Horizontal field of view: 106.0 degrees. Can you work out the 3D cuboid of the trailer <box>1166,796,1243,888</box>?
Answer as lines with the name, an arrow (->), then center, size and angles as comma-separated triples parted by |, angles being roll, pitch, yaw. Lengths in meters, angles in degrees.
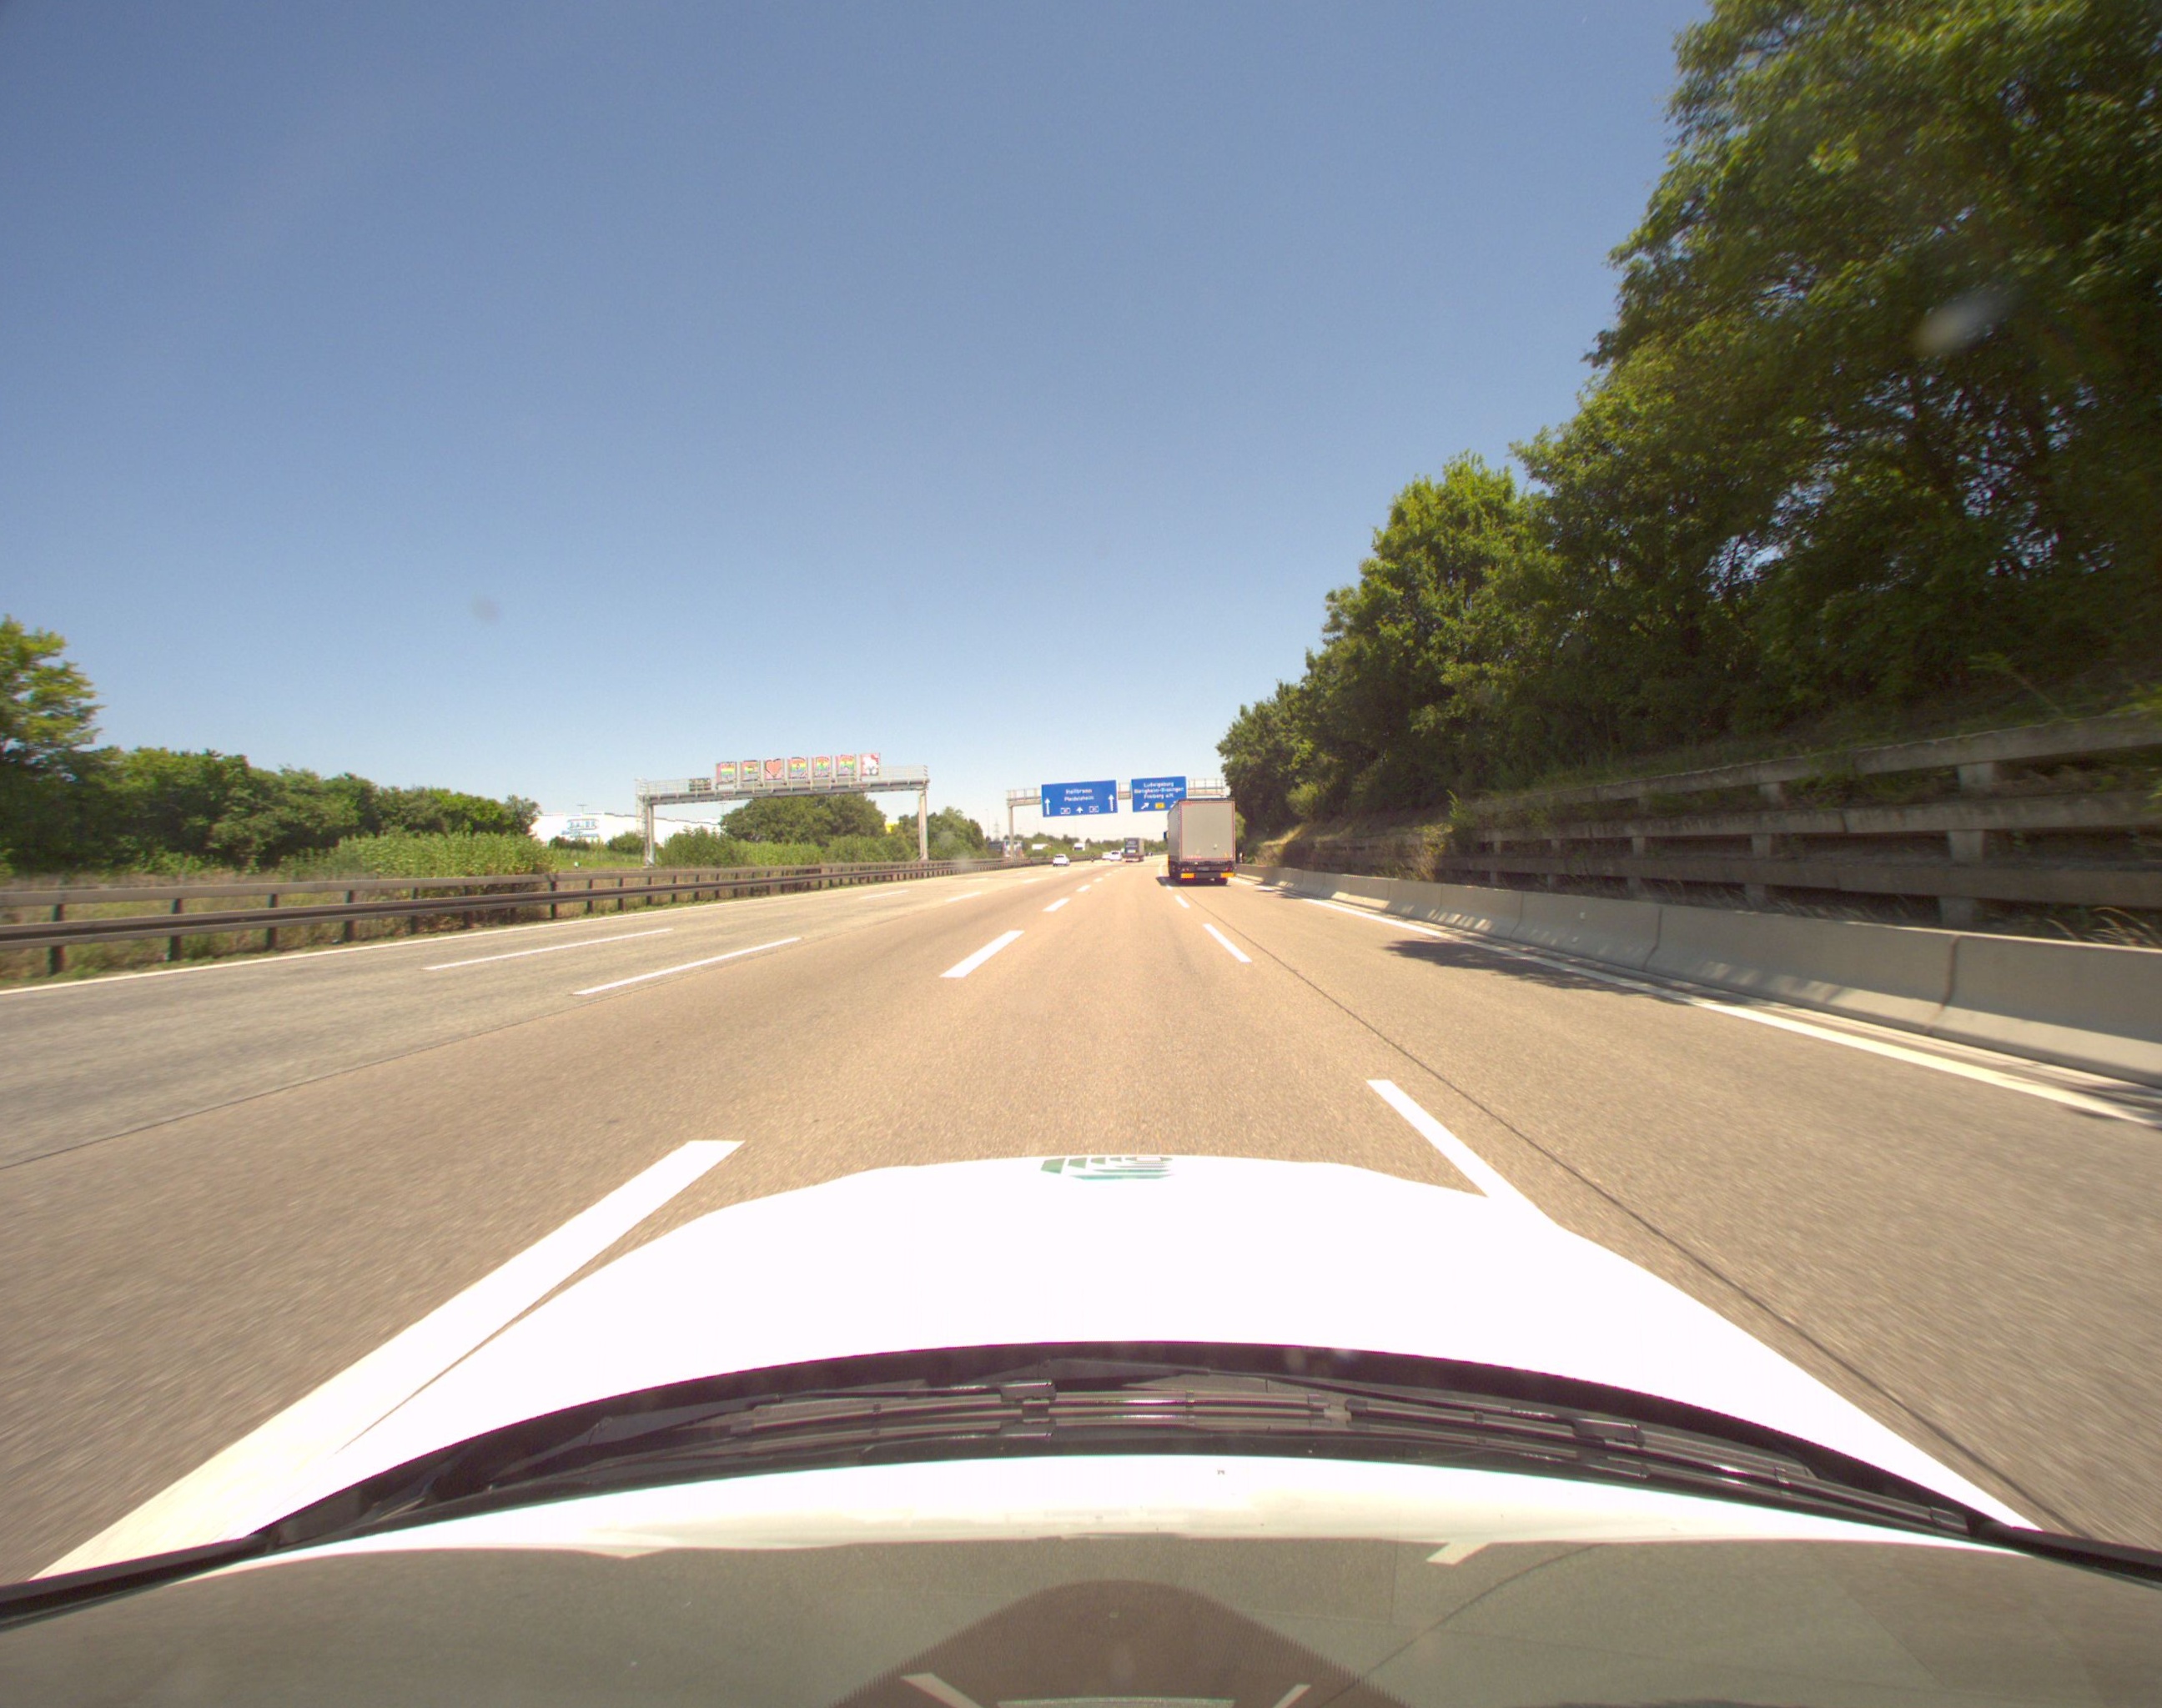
trailer -> 6.134, -0.627, 42.443 | 2.915, 4.015, 12.052 | -2, 1, 4

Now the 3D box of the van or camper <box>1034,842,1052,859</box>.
van or camper -> -7.308, -0.702, 158.191 | 2.462, 3.220, 7.834 | -1, 0, 5

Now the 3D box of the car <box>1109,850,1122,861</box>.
car -> 6.401, 0.270, 149.880 | 1.921, 1.851, 4.701 | -2, 1, 6

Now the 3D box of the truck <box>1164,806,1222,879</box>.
truck -> 6.667, -0.702, 49.587 | 2.915, 4.015, 7.592 | -2, 1, 4

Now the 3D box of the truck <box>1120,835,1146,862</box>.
truck -> 9.112, -0.935, 140.997 | 3.728, 4.270, 14.519 | -1, 0, 6

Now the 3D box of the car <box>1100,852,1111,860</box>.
car -> 5.046, 0.452, 168.408 | 1.867, 1.440, 5.134 | -1, -1, 6

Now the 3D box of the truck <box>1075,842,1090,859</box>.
truck -> 0.386, -0.809, 211.014 | 2.738, 4.207, 10.423 | -1, 0, 7

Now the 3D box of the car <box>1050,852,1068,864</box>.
car -> -2.771, 0.490, 103.486 | 1.773, 1.440, 4.676 | -1, -1, 5

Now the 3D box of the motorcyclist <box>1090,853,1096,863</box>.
motorcyclist -> 2.002, 0.673, 137.885 | 0.889, 1.597, 1.302 | -1, 1, 6

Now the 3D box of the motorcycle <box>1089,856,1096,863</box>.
motorcycle -> 2.006, 0.928, 137.895 | 0.908, 1.089, 2.854 | -1, 0, 6
